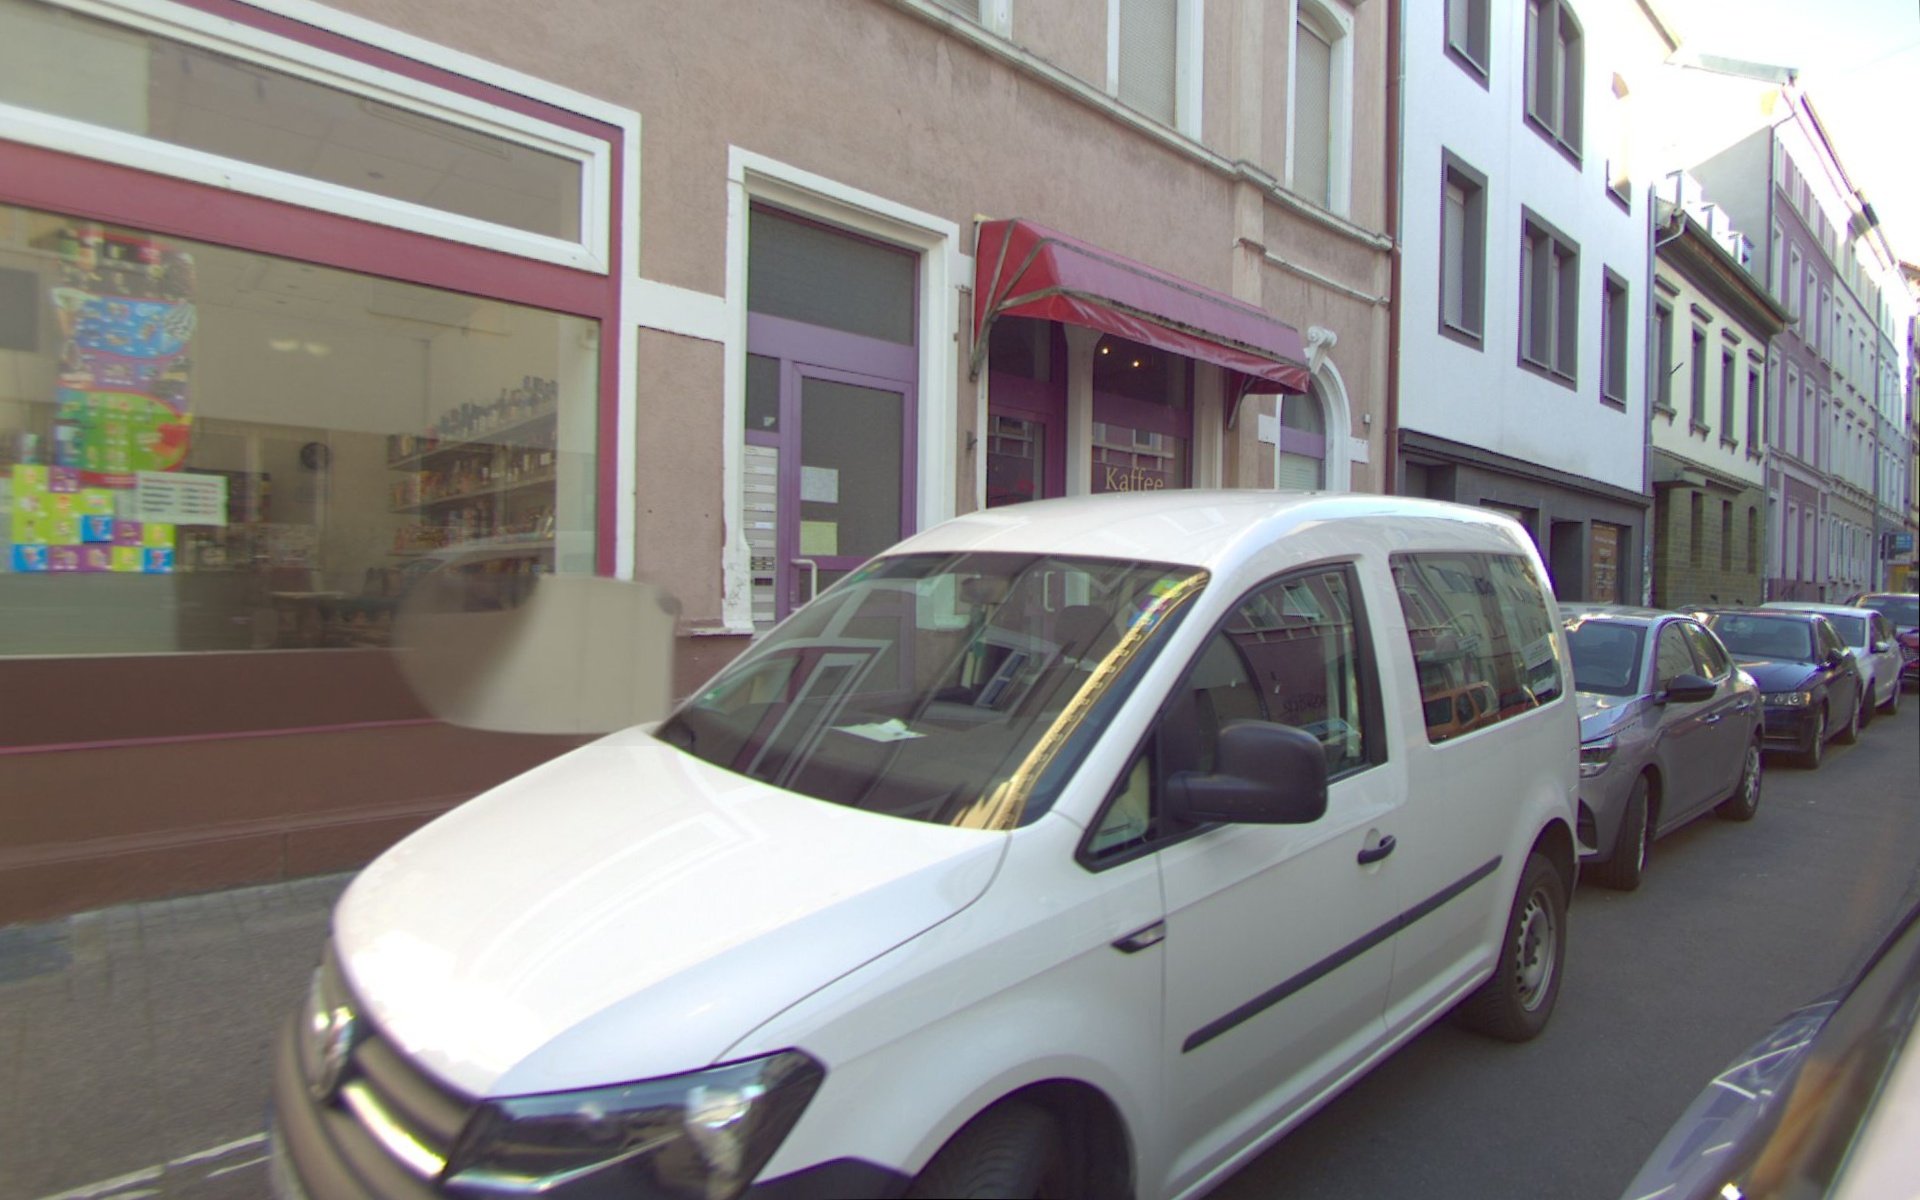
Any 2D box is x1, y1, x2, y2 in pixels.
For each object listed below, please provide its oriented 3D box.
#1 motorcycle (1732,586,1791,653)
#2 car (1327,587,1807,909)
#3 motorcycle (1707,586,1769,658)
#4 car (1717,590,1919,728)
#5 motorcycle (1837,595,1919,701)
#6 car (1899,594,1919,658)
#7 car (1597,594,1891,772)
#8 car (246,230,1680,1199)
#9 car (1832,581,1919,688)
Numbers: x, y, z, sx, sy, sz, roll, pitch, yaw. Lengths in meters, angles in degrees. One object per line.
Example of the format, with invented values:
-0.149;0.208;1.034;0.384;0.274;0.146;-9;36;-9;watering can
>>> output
17.601;0.402;22.217;2.003;1.414;0.696;-1;0;-42;motorcycle
4.105;0.665;6.582;3.815;1.425;1.611;-1;3;-42;car
15.968;0.425;20.759;2.003;1.414;0.666;-1;0;-42;motorcycle
11.615;0.661;13.584;3.708;1.522;1.619;-1;3;-42;car
14.782;0.707;16.067;2.229;1.507;0.989;-1;3;-42;motorcycle
23.558;0.609;23.924;3.815;1.413;1.611;-1;3;-42;car
8.219;0.691;10.493;3.815;1.413;1.734;-1;3;-42;car
0.551;0.505;3.082;4.295;1.839;1.751;-1;3;-42;car
17.615;0.564;18.707;4.333;1.752;1.712;-1;3;-42;car
